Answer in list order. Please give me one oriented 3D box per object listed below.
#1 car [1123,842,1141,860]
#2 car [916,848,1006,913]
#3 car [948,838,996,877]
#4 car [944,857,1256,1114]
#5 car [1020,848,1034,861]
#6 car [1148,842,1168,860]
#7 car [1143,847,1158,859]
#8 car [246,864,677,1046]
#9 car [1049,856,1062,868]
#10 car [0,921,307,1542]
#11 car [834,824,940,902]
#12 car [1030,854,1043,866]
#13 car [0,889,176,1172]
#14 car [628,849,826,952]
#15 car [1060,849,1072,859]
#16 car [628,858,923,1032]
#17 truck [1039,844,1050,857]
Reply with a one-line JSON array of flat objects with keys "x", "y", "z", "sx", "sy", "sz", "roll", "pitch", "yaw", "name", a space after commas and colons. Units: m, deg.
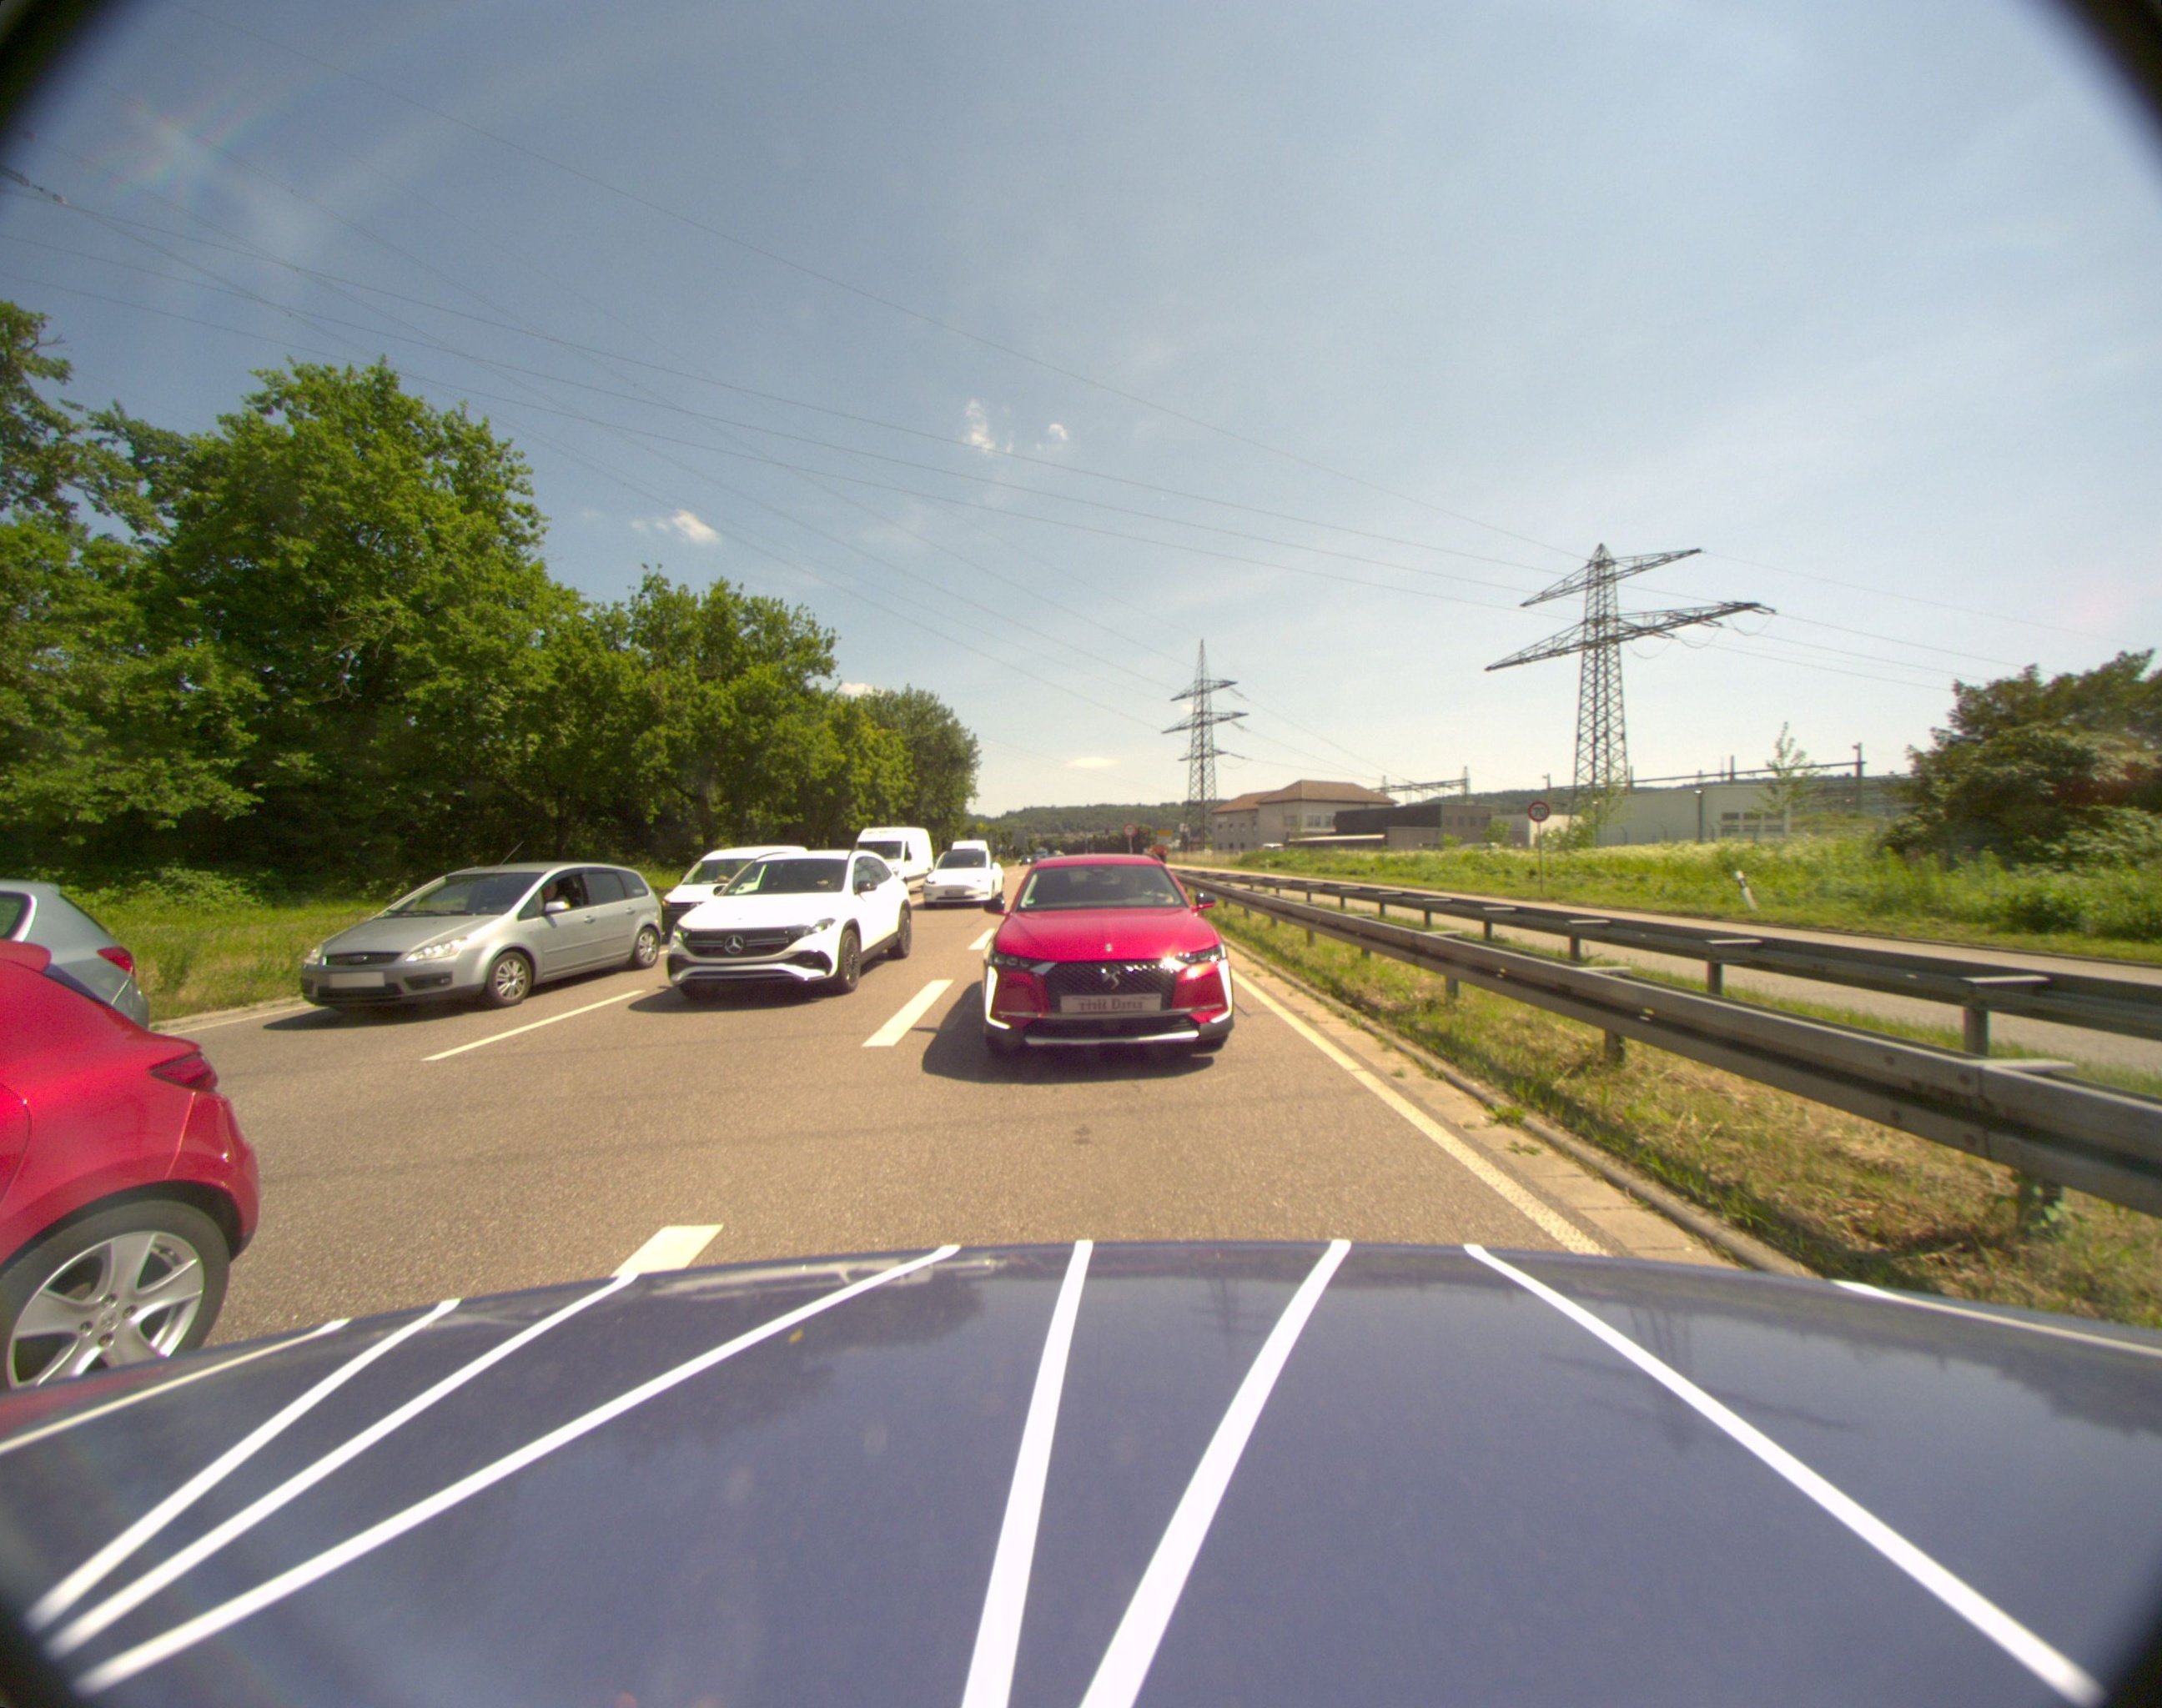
[{"x": 8.784, "y": -0.511, "z": 131.114, "sx": 2.607, "sy": 3.043, "sz": 5.637, "roll": 0, "pitch": 1, "yaw": -1, "name": "car"}, {"x": -3.392, "y": 0.687, "z": 22.180, "sx": 2.022, "sy": 1.672, "sz": 3.999, "roll": -2, "pitch": 1, "yaw": -2, "name": "car"}, {"x": -7.348, "y": 0.215, "z": 51.842, "sx": 2.308, "sy": 2.408, "sz": 5.813, "roll": -2, "pitch": 1, "yaw": 0, "name": "car"}, {"x": 0.126, "y": 0.807, "z": 6.830, "sx": 1.846, "sy": 1.453, "sz": 4.413, "roll": -2, "pitch": 1, "yaw": 0, "name": "car"}, {"x": -7.896, "y": 0.056, "z": 111.468, "sx": 1.878, "sy": 1.674, "sz": 3.998, "roll": -2, "pitch": 1, "yaw": -2, "name": "car"}, {"x": 12.852, "y": -0.511, "z": 127.113, "sx": 2.607, "sy": 3.043, "sz": 5.638, "roll": 0, "pitch": 1, "yaw": -1, "name": "car"}, {"x": 12.501, "y": -0.217, "z": 136.669, "sx": 1.999, "sy": 1.904, "sz": 3.997, "roll": -2, "pitch": 1, "yaw": -4, "name": "car"}, {"x": -7.032, "y": 0.993, "z": 9.374, "sx": 1.747, "sy": 1.585, "sz": 4.272, "roll": -2, "pitch": 1, "yaw": 0, "name": "car"}, {"x": -3.915, "y": 1.227, "z": 115.588, "sx": 1.878, "sy": 1.674, "sz": 3.998, "roll": -2, "pitch": 1, "yaw": -2, "name": "car"}, {"x": -3.525, "y": 0.999, "z": 0.546, "sx": 1.747, "sy": 1.453, "sz": 4.064, "roll": -2, "pitch": 1, "yaw": -1, "name": "car"}, {"x": -7.266, "y": 0.279, "z": 29.402, "sx": 2.233, "sy": 2.592, "sz": 7.017, "roll": -2, "pitch": 1, "yaw": 0, "name": "car"}, {"x": -7.672, "y": 1.063, "z": 130.811, "sx": 1.998, "sy": 1.808, "sz": 3.999, "roll": -2, "pitch": 1, "yaw": 0, "name": "car"}, {"x": -7.127, "y": 1.065, "z": 3.128, "sx": 1.769, "sy": 1.586, "sz": 4.164, "roll": -1, "pitch": 1, "yaw": 0, "name": "car"}, {"x": -7.218, "y": 0.820, "z": 16.198, "sx": 1.809, "sy": 1.790, "sz": 5.037, "roll": -2, "pitch": 1, "yaw": 0, "name": "car"}, {"x": -2.719, "y": 0.023, "z": 137.535, "sx": 1.998, "sy": 1.752, "sz": 4.000, "roll": 0, "pitch": 1, "yaw": 1, "name": "car"}, {"x": -3.402, "y": 0.894, "z": 9.517, "sx": 1.850, "sy": 1.559, "sz": 4.363, "roll": -2, "pitch": 1, "yaw": 0, "name": "car"}, {"x": -7.719, "y": -0.747, "z": 160.360, "sx": 2.170, "sy": 2.428, "sz": 4.908, "roll": -2, "pitch": 1, "yaw": -2, "name": "truck"}]
